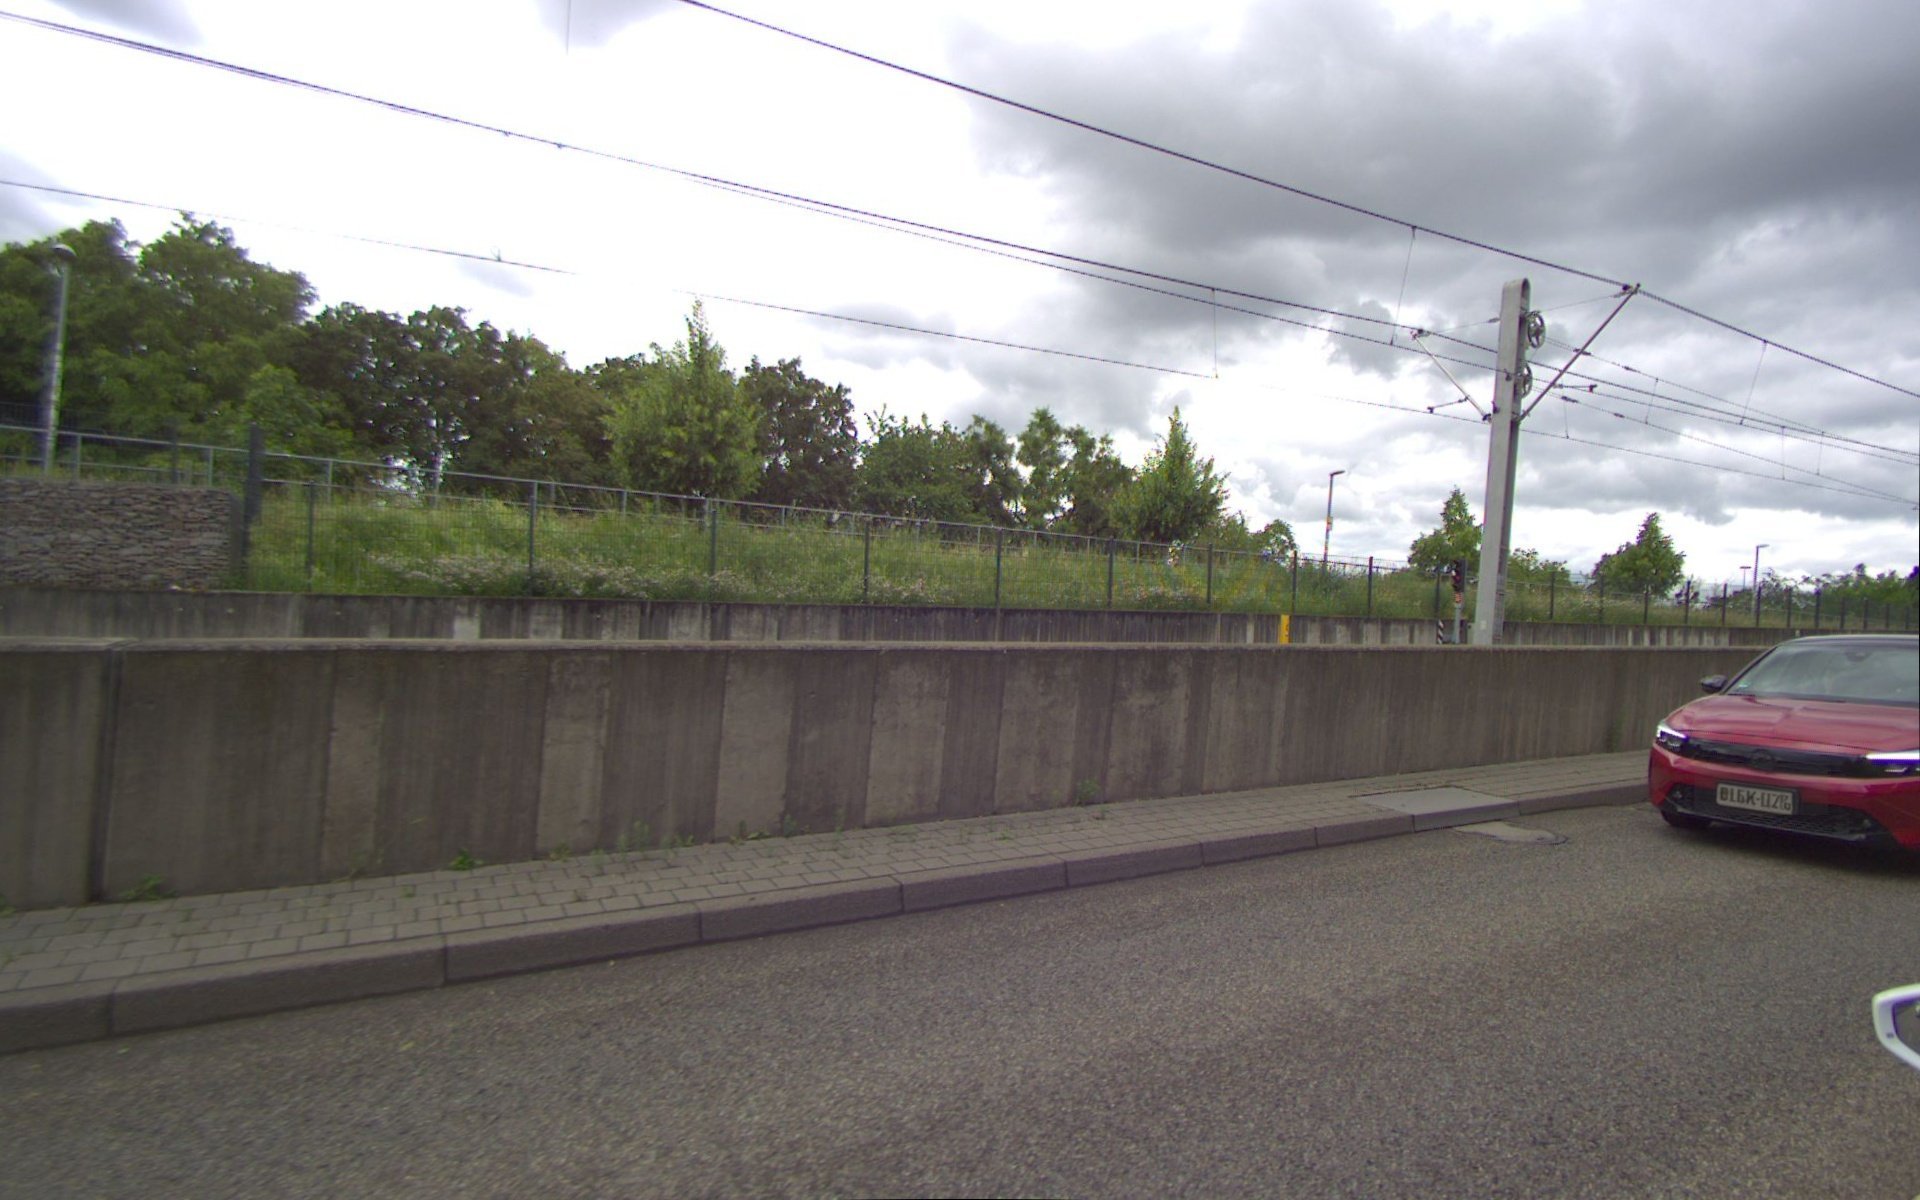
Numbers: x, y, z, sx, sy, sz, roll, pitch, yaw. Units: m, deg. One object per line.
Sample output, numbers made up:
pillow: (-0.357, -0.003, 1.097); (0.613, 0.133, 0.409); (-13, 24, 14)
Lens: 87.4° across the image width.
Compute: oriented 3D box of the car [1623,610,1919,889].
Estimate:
car: (6.732, 0.895, 7.332); (3.907, 1.566, 1.654); (1, -1, -31)
